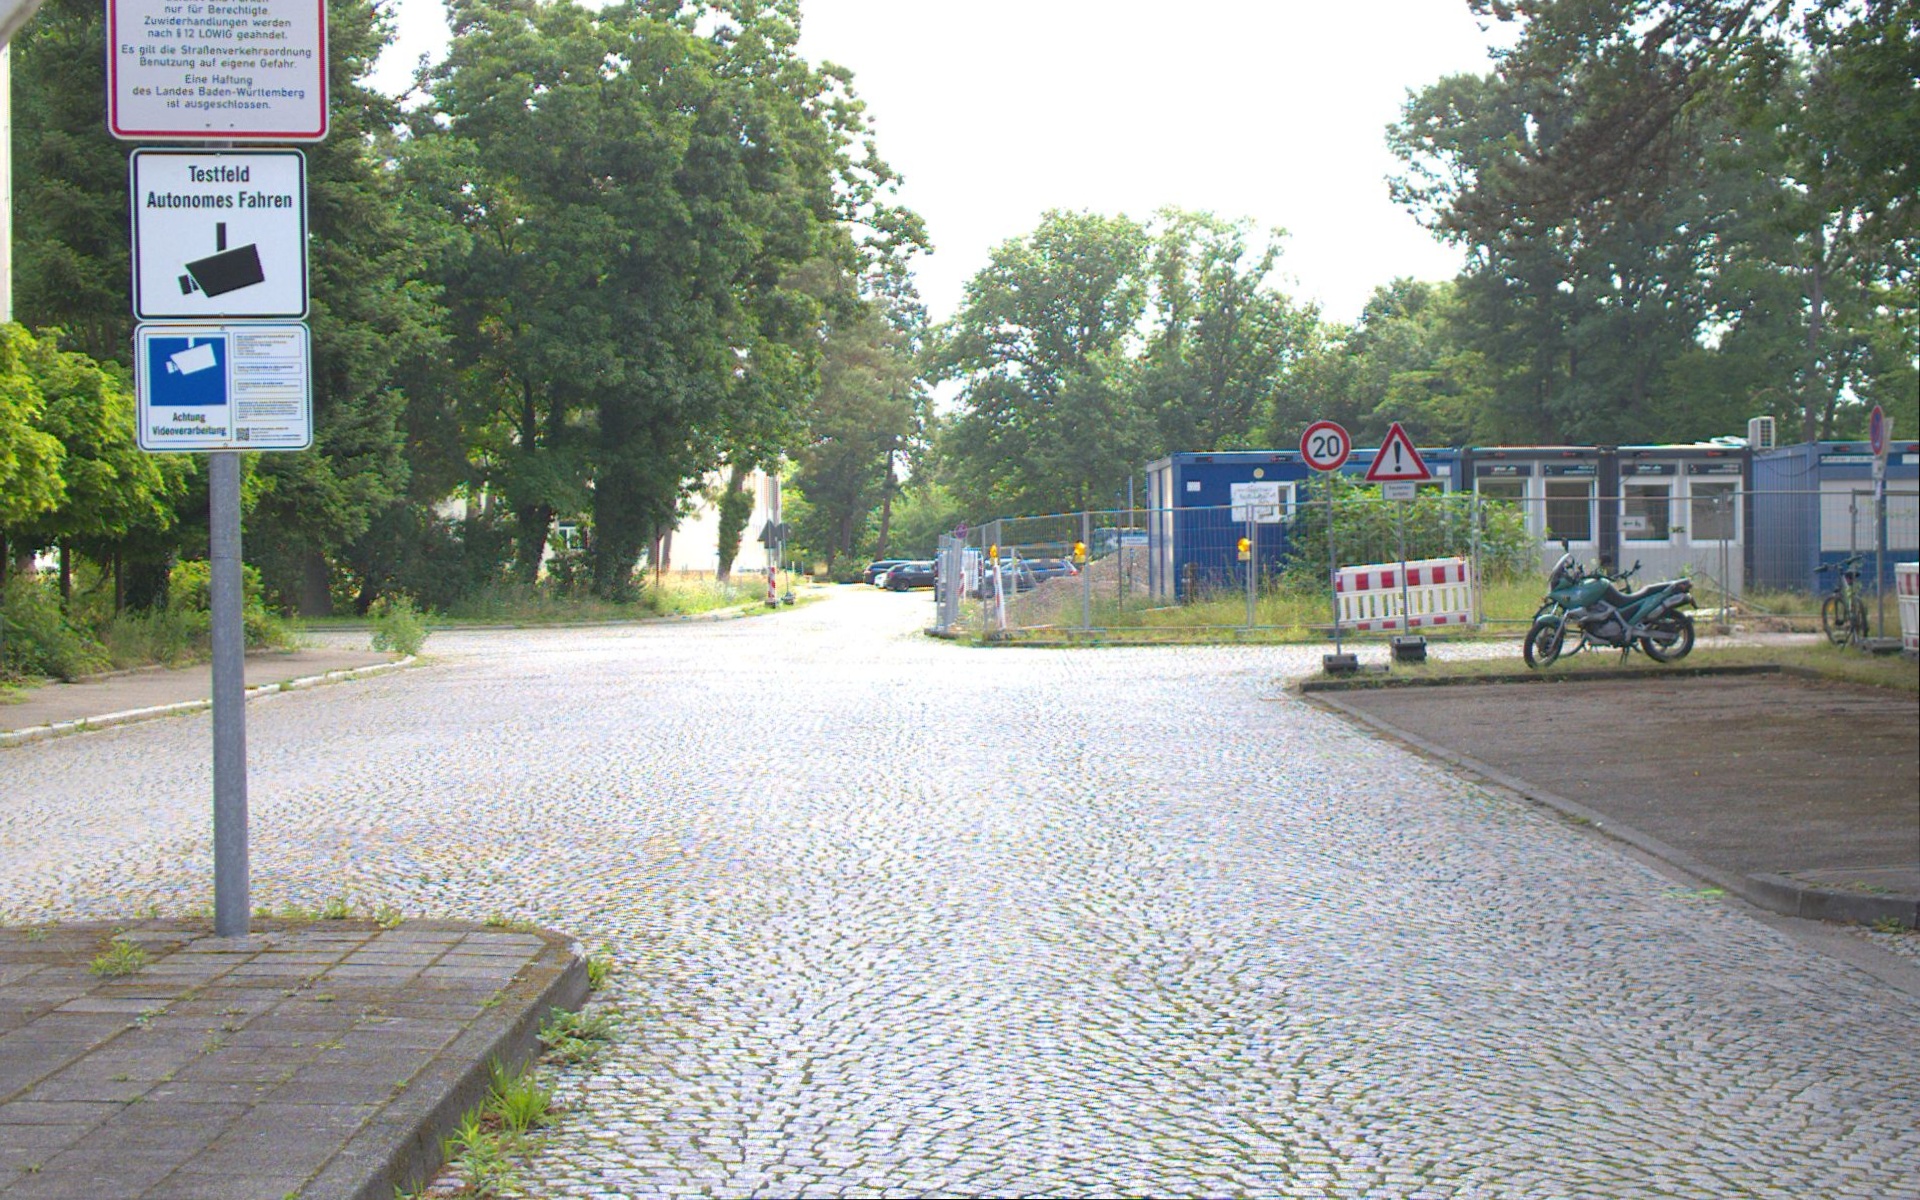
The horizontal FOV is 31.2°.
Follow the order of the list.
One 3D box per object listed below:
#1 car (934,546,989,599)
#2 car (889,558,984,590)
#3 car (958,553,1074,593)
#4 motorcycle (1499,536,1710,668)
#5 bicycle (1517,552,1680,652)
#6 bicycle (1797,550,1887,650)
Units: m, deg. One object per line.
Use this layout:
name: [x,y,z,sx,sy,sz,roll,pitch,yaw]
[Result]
car: [0.033,-1.048,131.440,1.993,2.007,4.091,0,0,-2]
car: [-1.216,-1.359,178.125,4.779,1.635,2.000,0,0,-5]
car: [2.243,-1.079,136.958,4.404,1.505,1.999,1,1,8]
motorcycle: [7.521,0.015,40.179,2.276,1.480,0.757,-1,1,-5]
bicycle: [7.927,0.025,42.666,1.900,1.193,0.655,-1,1,19]
bicycle: [10.705,-0.013,41.772,0.642,1.165,1.905,-1,1,2]
